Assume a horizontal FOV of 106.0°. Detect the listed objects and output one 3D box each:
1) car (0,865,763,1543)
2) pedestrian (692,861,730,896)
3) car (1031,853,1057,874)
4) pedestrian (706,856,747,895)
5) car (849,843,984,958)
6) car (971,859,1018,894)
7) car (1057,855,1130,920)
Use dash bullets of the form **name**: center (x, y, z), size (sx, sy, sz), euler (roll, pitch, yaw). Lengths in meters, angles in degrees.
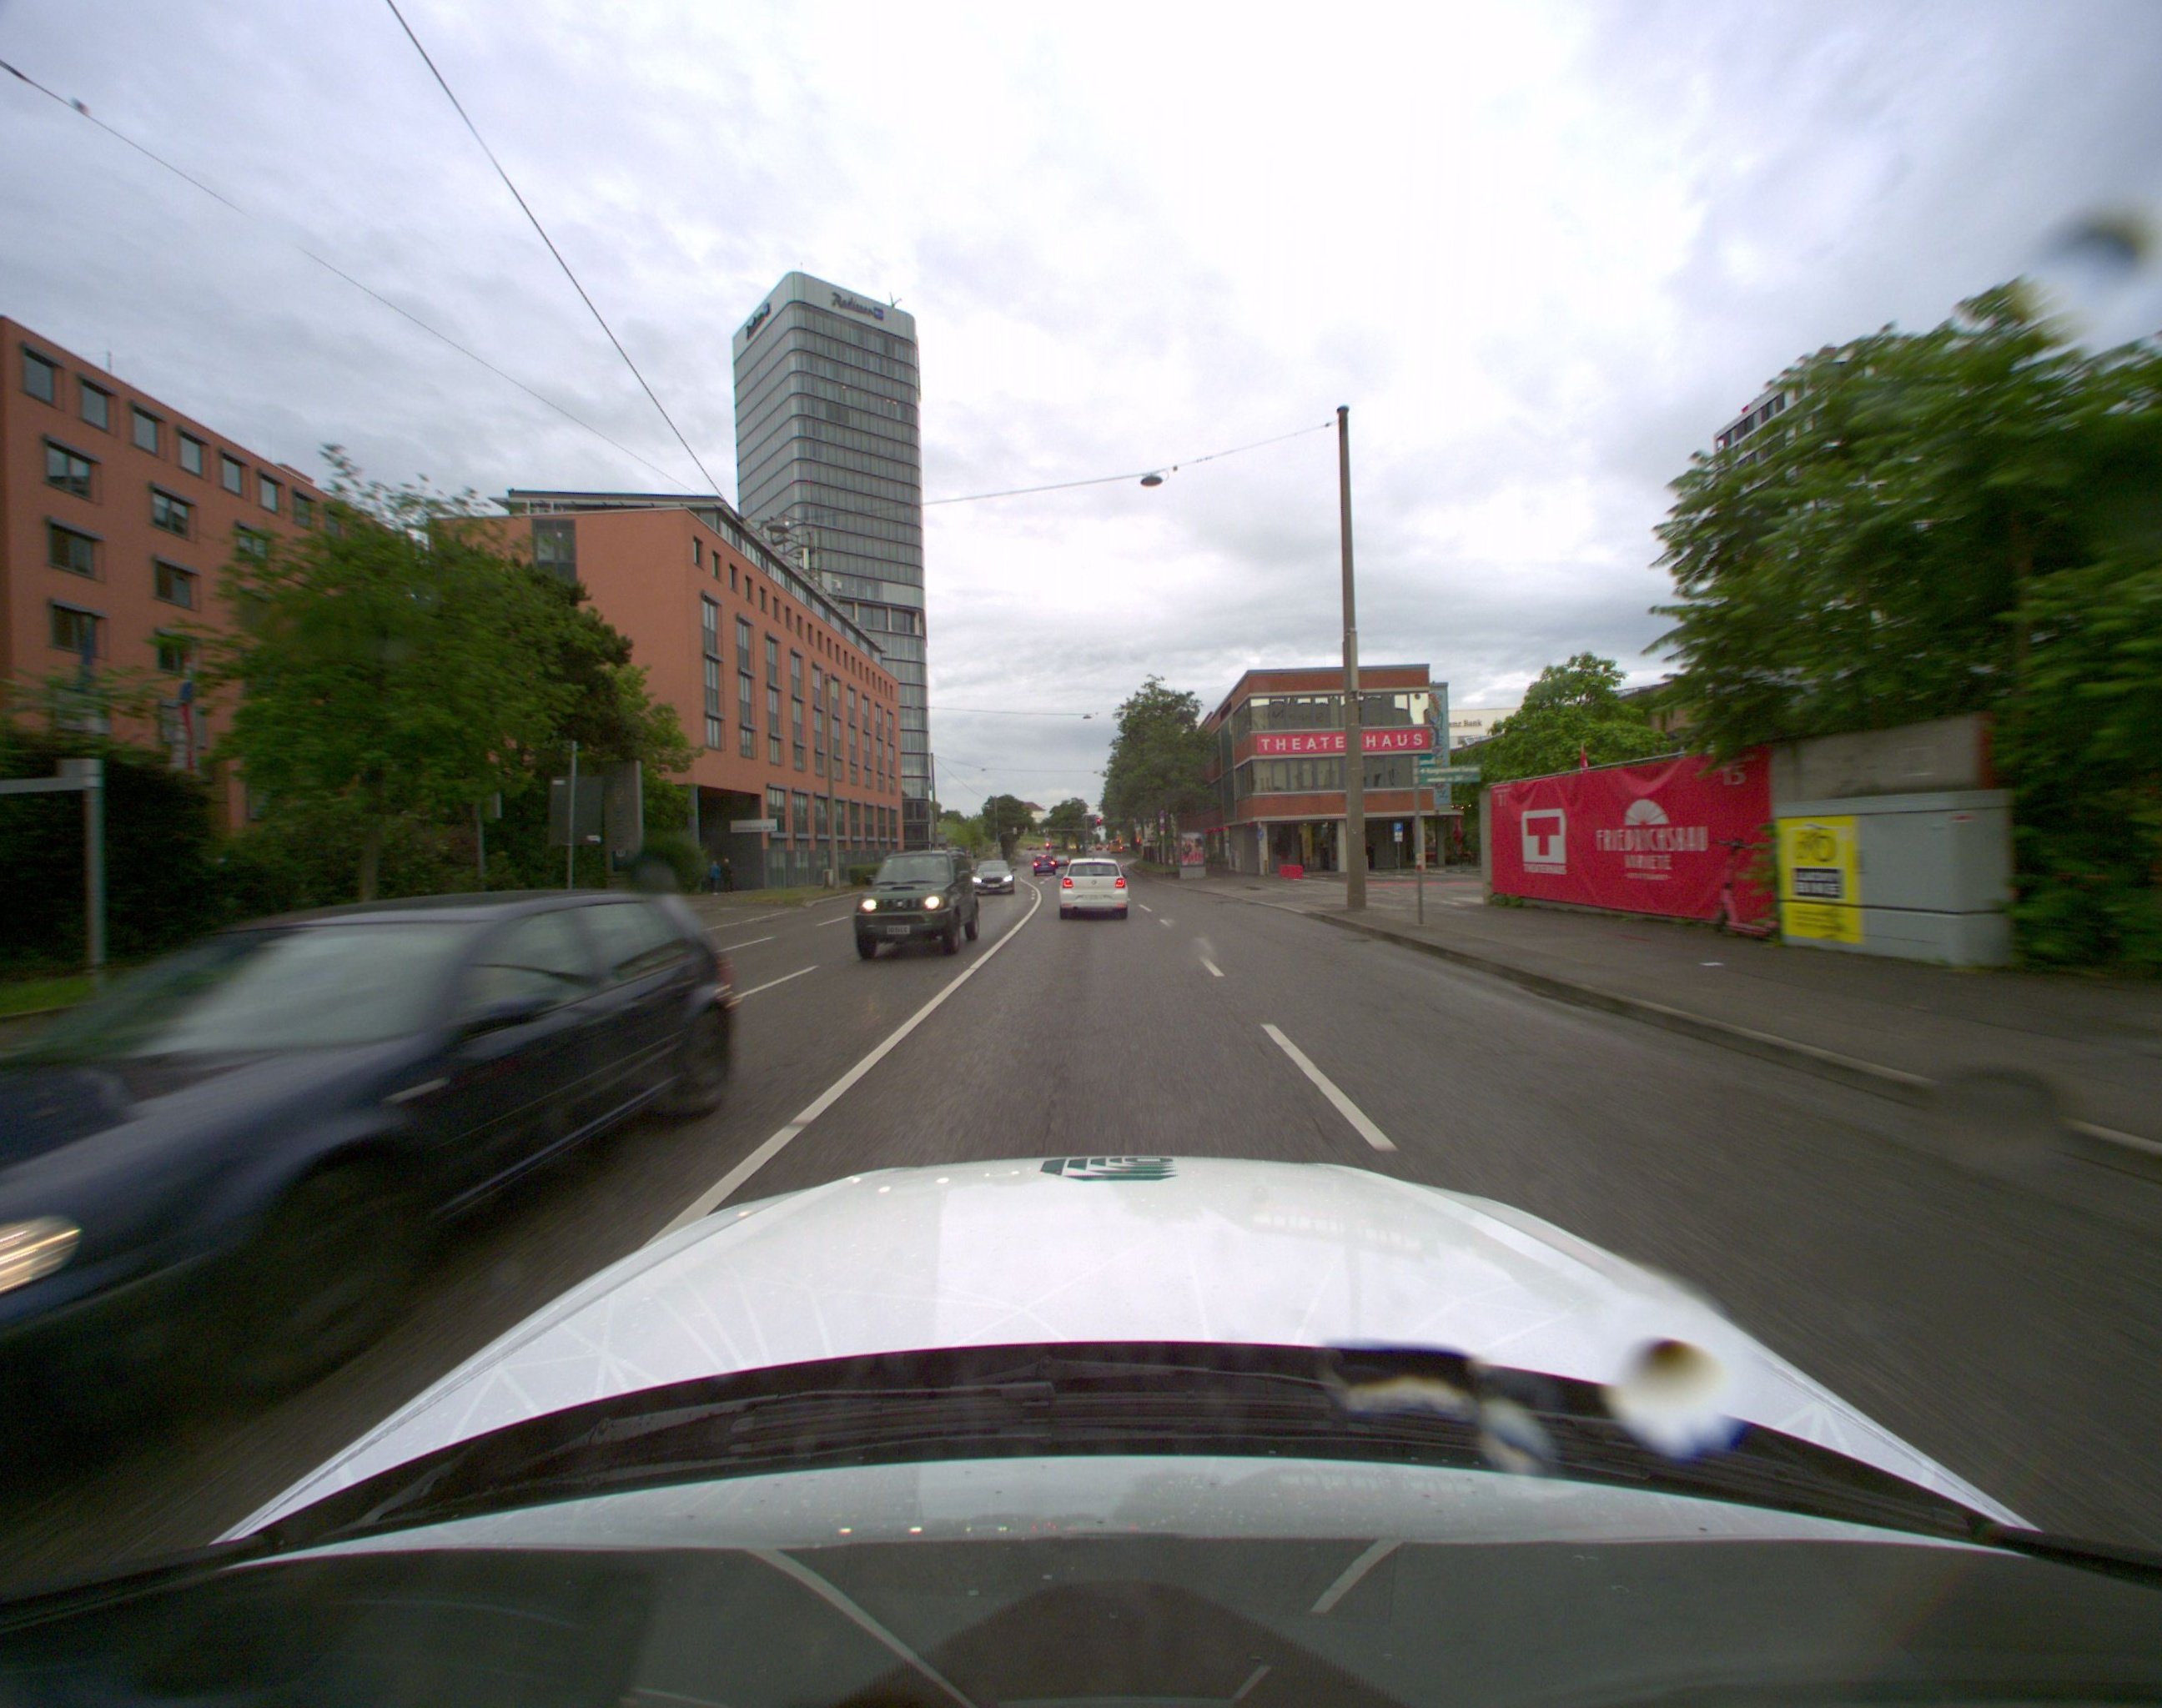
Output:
- **car**: center (-3.121, 0.852, 3.775), size (1.653, 1.486, 3.821), euler (-2, 0, 1)
- **pedestrian**: center (-18.840, 1.237, 41.506), size (1.202, 1.679, 1.420), euler (-4, -2, 1)
- **car**: center (-2.969, 0.774, 66.321), size (1.989, 1.574, 3.996), euler (-2, 0, -2)
- **pedestrian**: center (-18.046, 1.103, 41.505), size (1.310, 1.823, 1.439), euler (-4, -2, 1)
- **car**: center (-2.705, 0.690, 14.111), size (1.497, 1.666, 3.421), euler (-2, 1, 1)
- **car**: center (-3.720, 0.946, 35.510), size (1.708, 1.365, 3.997), euler (-3, -1, -2)
- **car**: center (0.259, 0.789, 20.905), size (1.666, 1.474, 3.778), euler (-2, 0, -1)
